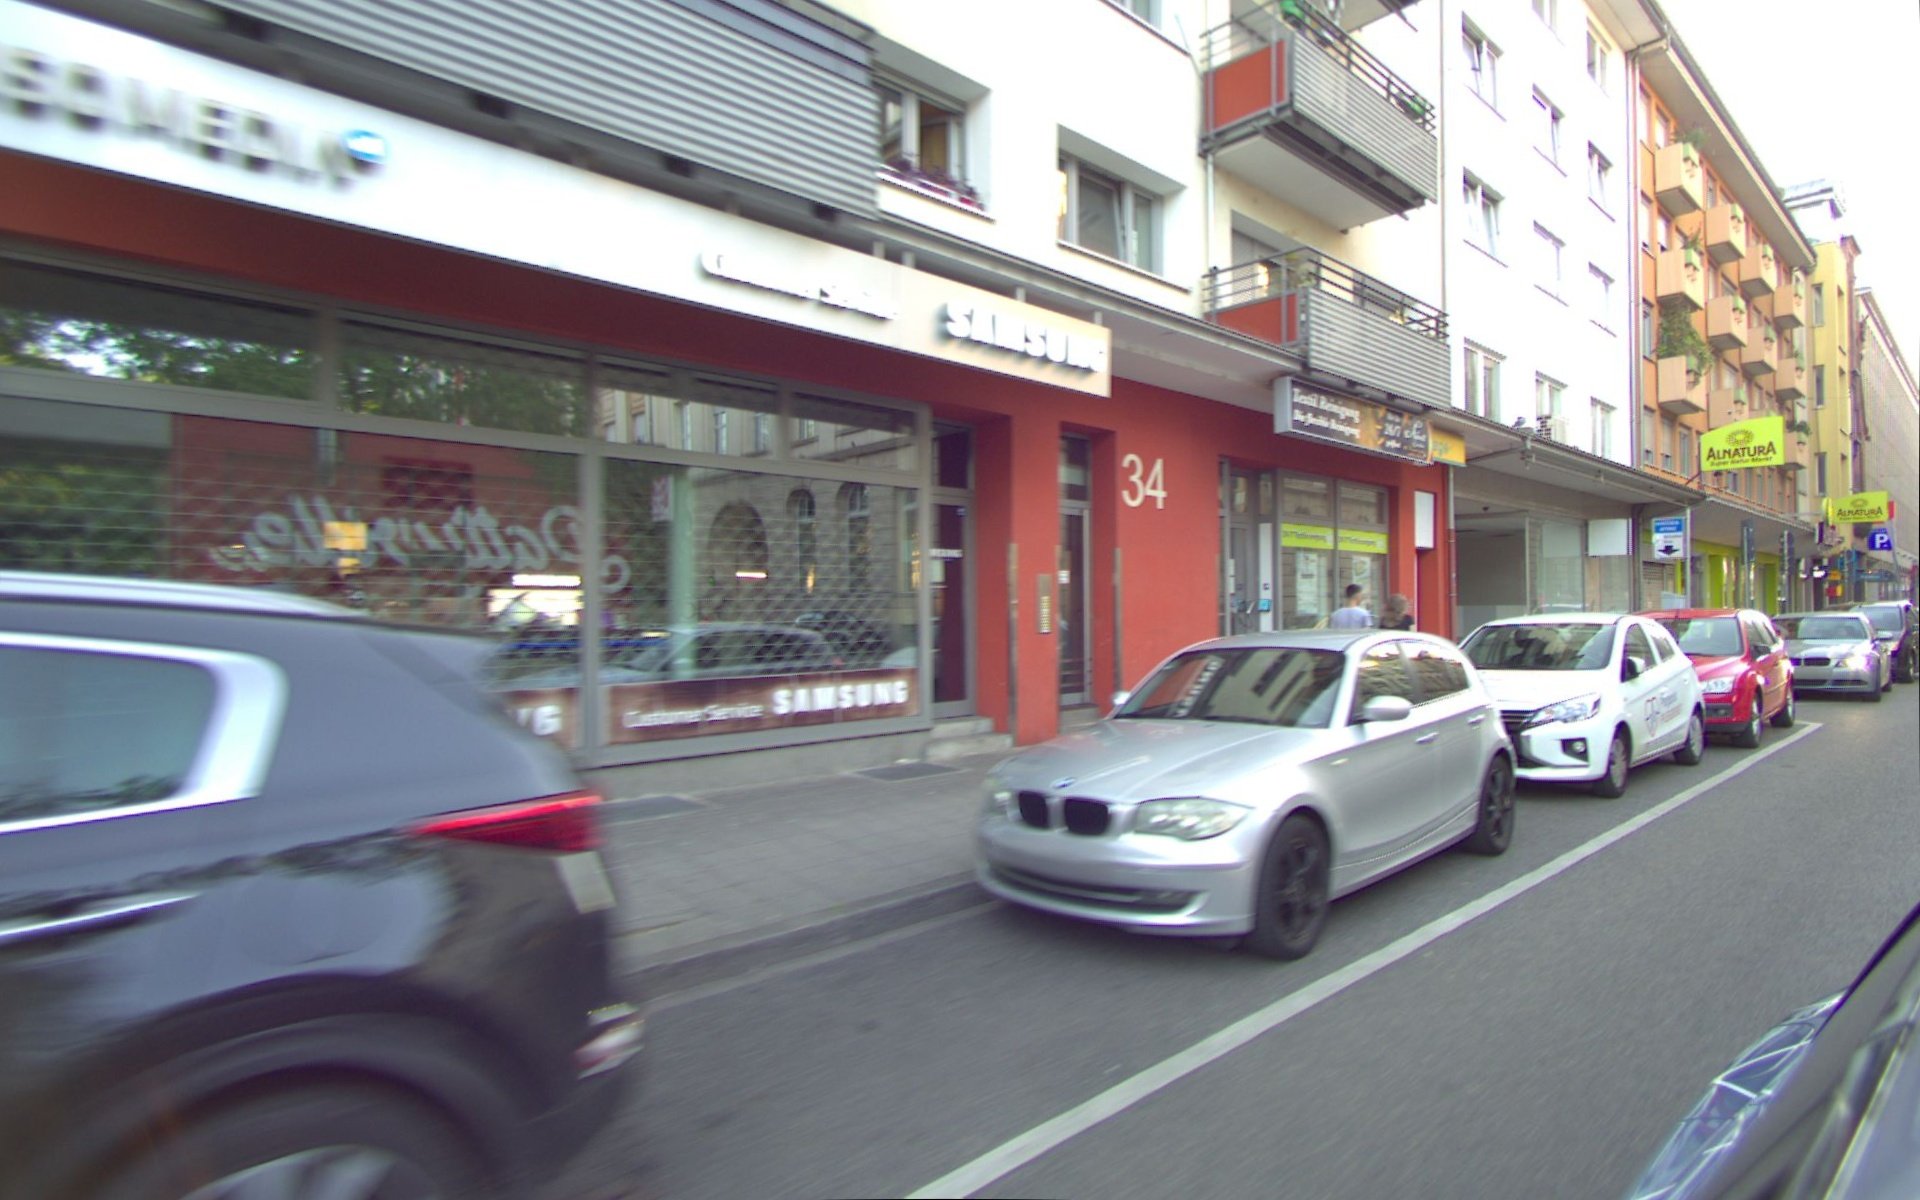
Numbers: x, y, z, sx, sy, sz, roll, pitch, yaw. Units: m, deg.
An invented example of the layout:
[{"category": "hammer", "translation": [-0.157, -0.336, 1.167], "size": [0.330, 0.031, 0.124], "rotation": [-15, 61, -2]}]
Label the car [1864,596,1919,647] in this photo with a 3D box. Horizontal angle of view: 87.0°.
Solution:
[{"category": "car", "translation": [28.874, 0.640, 30.614], "size": [4.674, 1.433, 1.693], "rotation": [1, -3, -42]}]

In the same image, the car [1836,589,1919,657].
[{"category": "car", "translation": [25.256, 0.617, 27.333], "size": [4.674, 1.690, 1.754], "rotation": [1, -3, -42]}]

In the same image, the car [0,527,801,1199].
[{"category": "car", "translation": [-2.714, 0.756, 1.492], "size": [4.708, 1.663, 1.766], "rotation": [1, -3, -42]}]

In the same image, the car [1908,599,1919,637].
[{"category": "car", "translation": [38.086, 0.656, 39.265], "size": [1.691, 1.430, 4.563], "rotation": [-4, -3, 45]}]

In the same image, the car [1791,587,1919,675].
[{"category": "car", "translation": [18.897, 0.629, 20.802], "size": [4.404, 1.631, 1.798], "rotation": [0, -3, -38]}]

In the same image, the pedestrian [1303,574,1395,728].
[{"category": "pedestrian", "translation": [4.492, 0.556, 11.679], "size": [0.780, 1.682, 0.649], "rotation": [0, 2, -40]}]

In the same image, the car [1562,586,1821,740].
[{"category": "car", "translation": [9.029, 0.682, 12.321], "size": [4.574, 1.532, 1.713], "rotation": [1, -3, -44]}]

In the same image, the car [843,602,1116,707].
[{"category": "car", "translation": [0.372, 0.726, 15.137], "size": [3.929, 1.353, 1.743], "rotation": [0, 0, -40]}]

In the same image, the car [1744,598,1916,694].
[{"category": "car", "translation": [14.945, 0.741, 17.293], "size": [4.604, 1.434, 1.737], "rotation": [1, -3, -44]}]

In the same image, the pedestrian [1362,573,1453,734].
[{"category": "pedestrian", "translation": [4.927, 0.558, 11.151], "size": [0.643, 1.682, 0.649], "rotation": [0, 2, -40]}]

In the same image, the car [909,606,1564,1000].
[{"category": "car", "translation": [1.911, 0.815, 5.962], "size": [4.384, 1.471, 1.699], "rotation": [1, -3, -44]}]

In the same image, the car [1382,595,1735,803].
[{"category": "car", "translation": [5.671, 0.777, 9.391], "size": [3.977, 1.532, 1.608], "rotation": [1, -3, -41]}]
